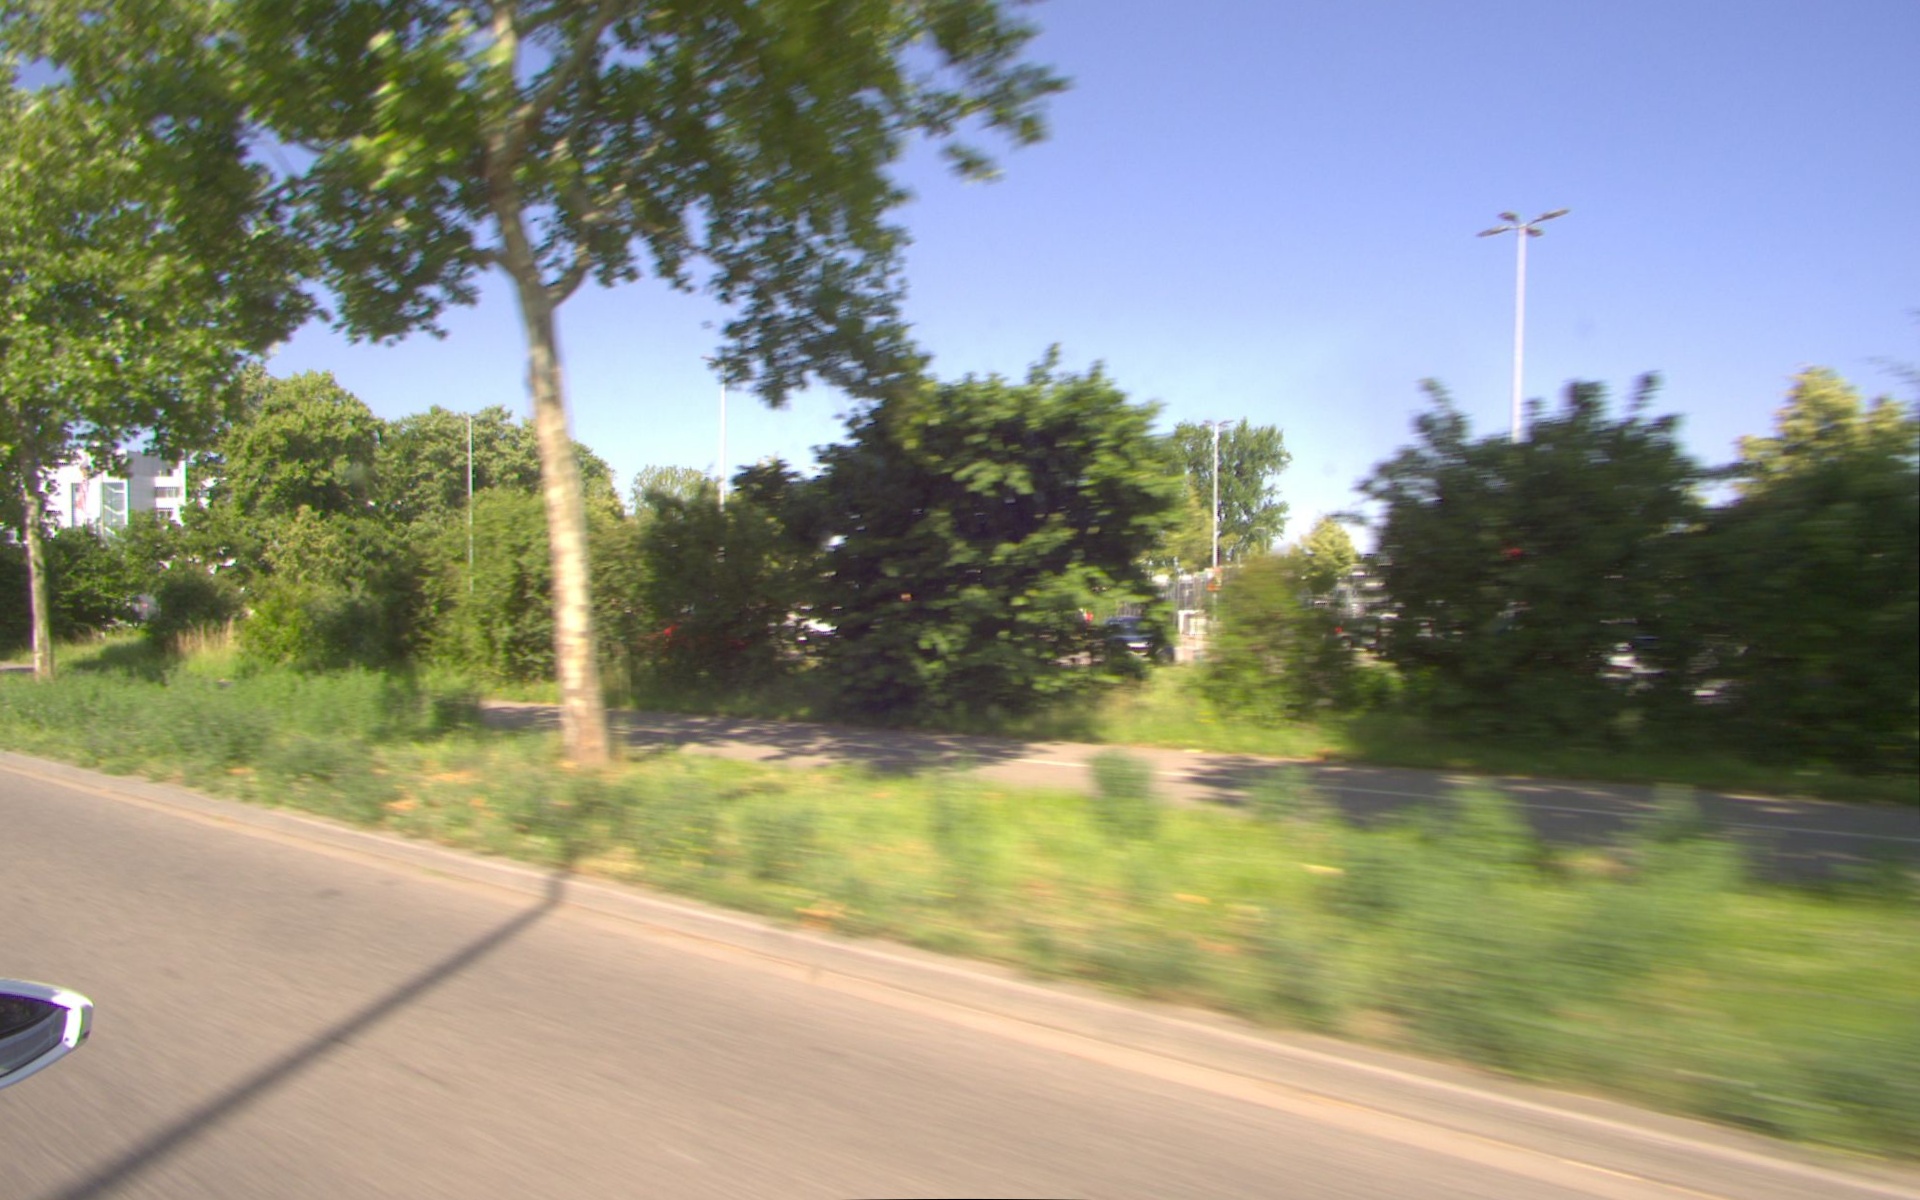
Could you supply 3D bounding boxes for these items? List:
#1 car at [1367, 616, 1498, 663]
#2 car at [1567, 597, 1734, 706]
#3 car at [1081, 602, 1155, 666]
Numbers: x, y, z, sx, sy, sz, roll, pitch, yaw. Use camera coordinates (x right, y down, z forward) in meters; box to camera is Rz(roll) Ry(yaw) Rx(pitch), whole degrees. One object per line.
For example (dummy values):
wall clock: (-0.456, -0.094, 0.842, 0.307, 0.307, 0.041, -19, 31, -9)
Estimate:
car: (17.447, 1.454, 37.058, 3.924, 1.672, 2.000, 1, -2, -8)
car: (11.920, 0.879, 17.589, 2.067, 1.656, 4.481, -1, -2, 30)
car: (4.468, 0.963, 27.872, 1.699, 1.660, 3.652, 0, -2, 14)
